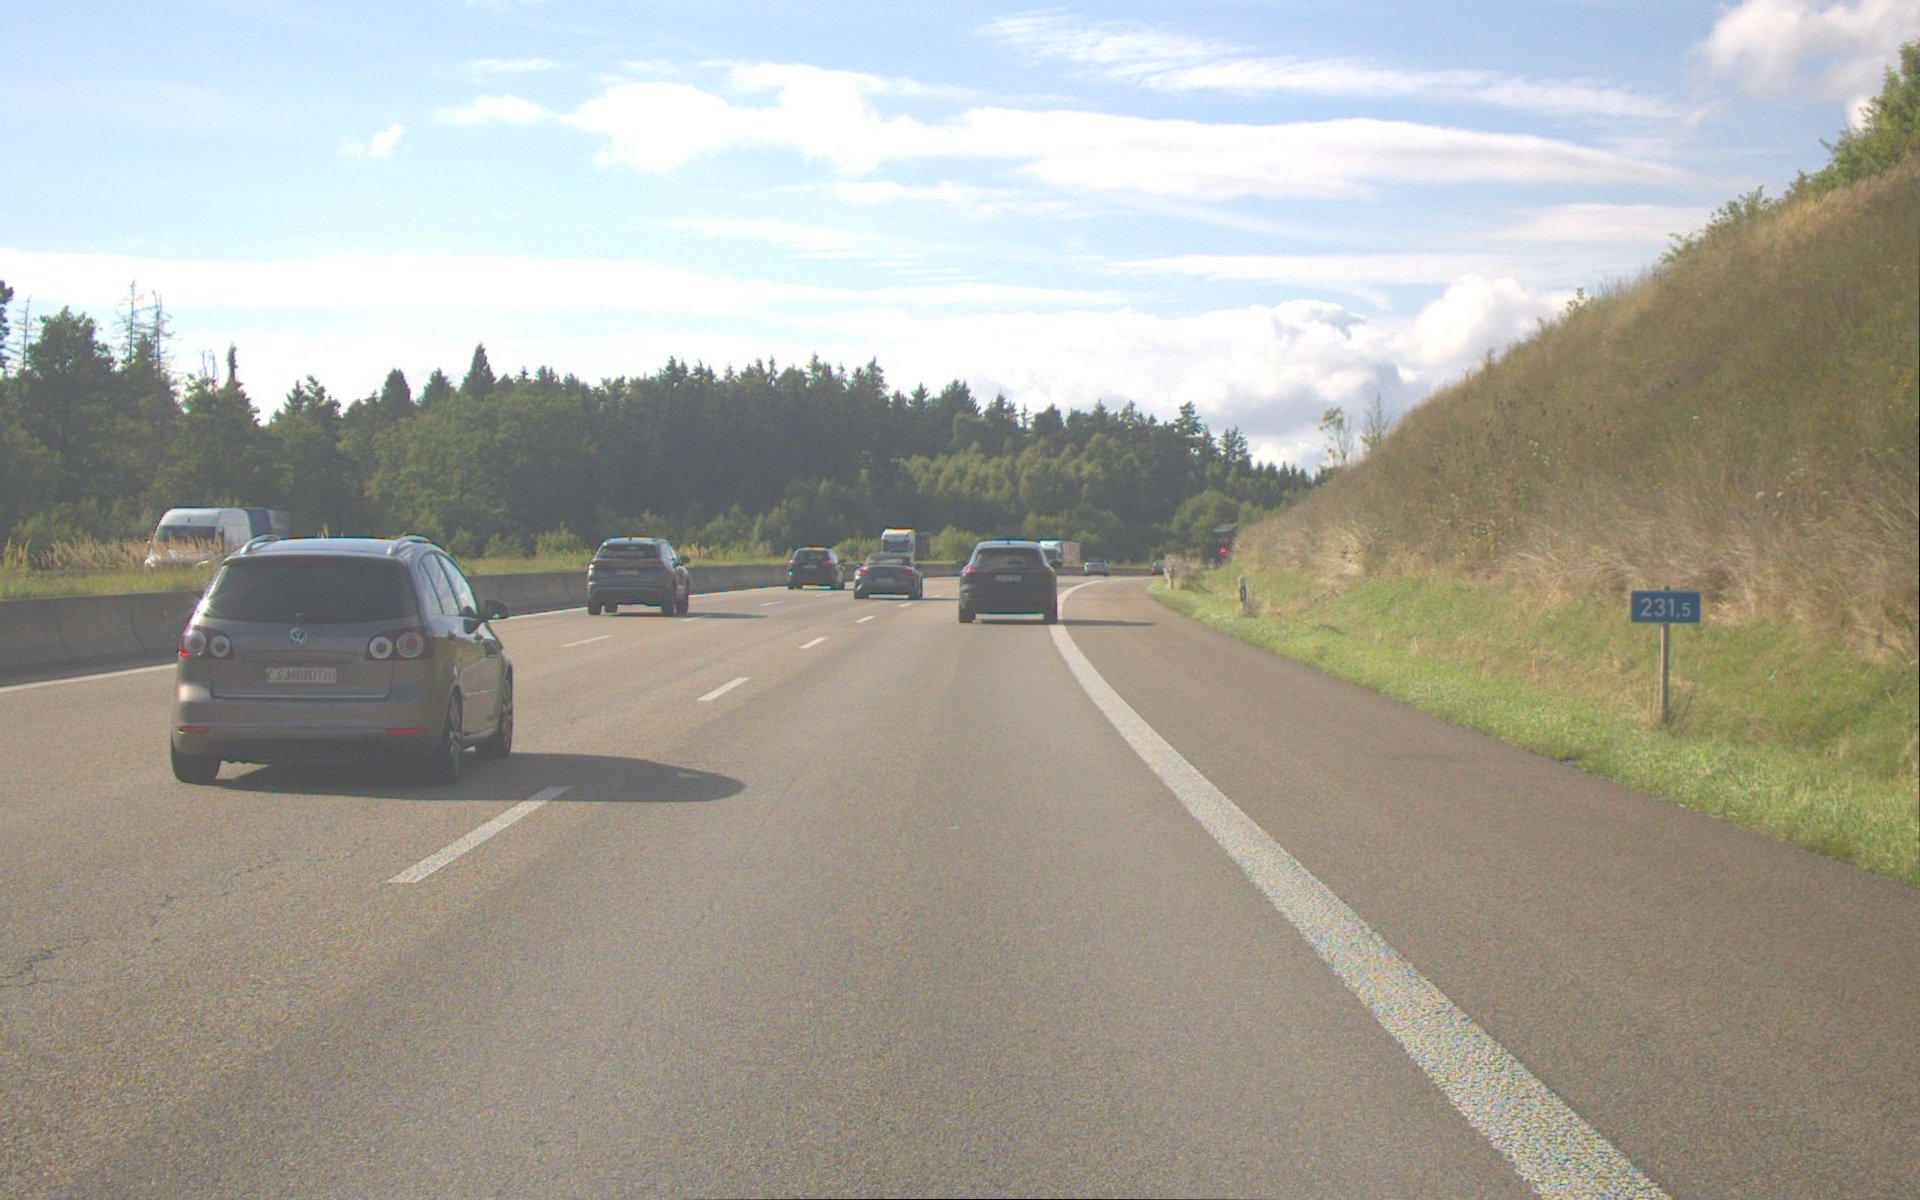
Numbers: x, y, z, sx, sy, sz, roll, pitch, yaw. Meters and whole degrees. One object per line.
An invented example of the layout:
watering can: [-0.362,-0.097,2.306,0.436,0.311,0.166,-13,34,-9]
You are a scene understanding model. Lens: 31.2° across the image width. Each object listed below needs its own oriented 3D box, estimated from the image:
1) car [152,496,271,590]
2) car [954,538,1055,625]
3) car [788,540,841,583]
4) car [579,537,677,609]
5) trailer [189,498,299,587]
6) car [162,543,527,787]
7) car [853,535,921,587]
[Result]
car: [-22.026,-1.695,101.346,2.269,2.674,5.889,0,1,-1]
car: [0.860,-0.385,68.430,1.873,1.669,3.890,0,1,-1]
car: [-5.236,-1.397,123.761,1.873,1.492,3.880,0,1,-2]
car: [-7.127,-0.598,74.130,1.873,1.492,3.880,0,1,-2]
trailer: [-22.061,-1.784,106.159,2.269,2.674,5.563,0,1,0]
car: [-4.020,0.371,23.023,1.873,1.492,3.880,0,1,-2]
car: [-2.115,-1.154,100.336,1.873,1.492,3.880,0,1,0]
